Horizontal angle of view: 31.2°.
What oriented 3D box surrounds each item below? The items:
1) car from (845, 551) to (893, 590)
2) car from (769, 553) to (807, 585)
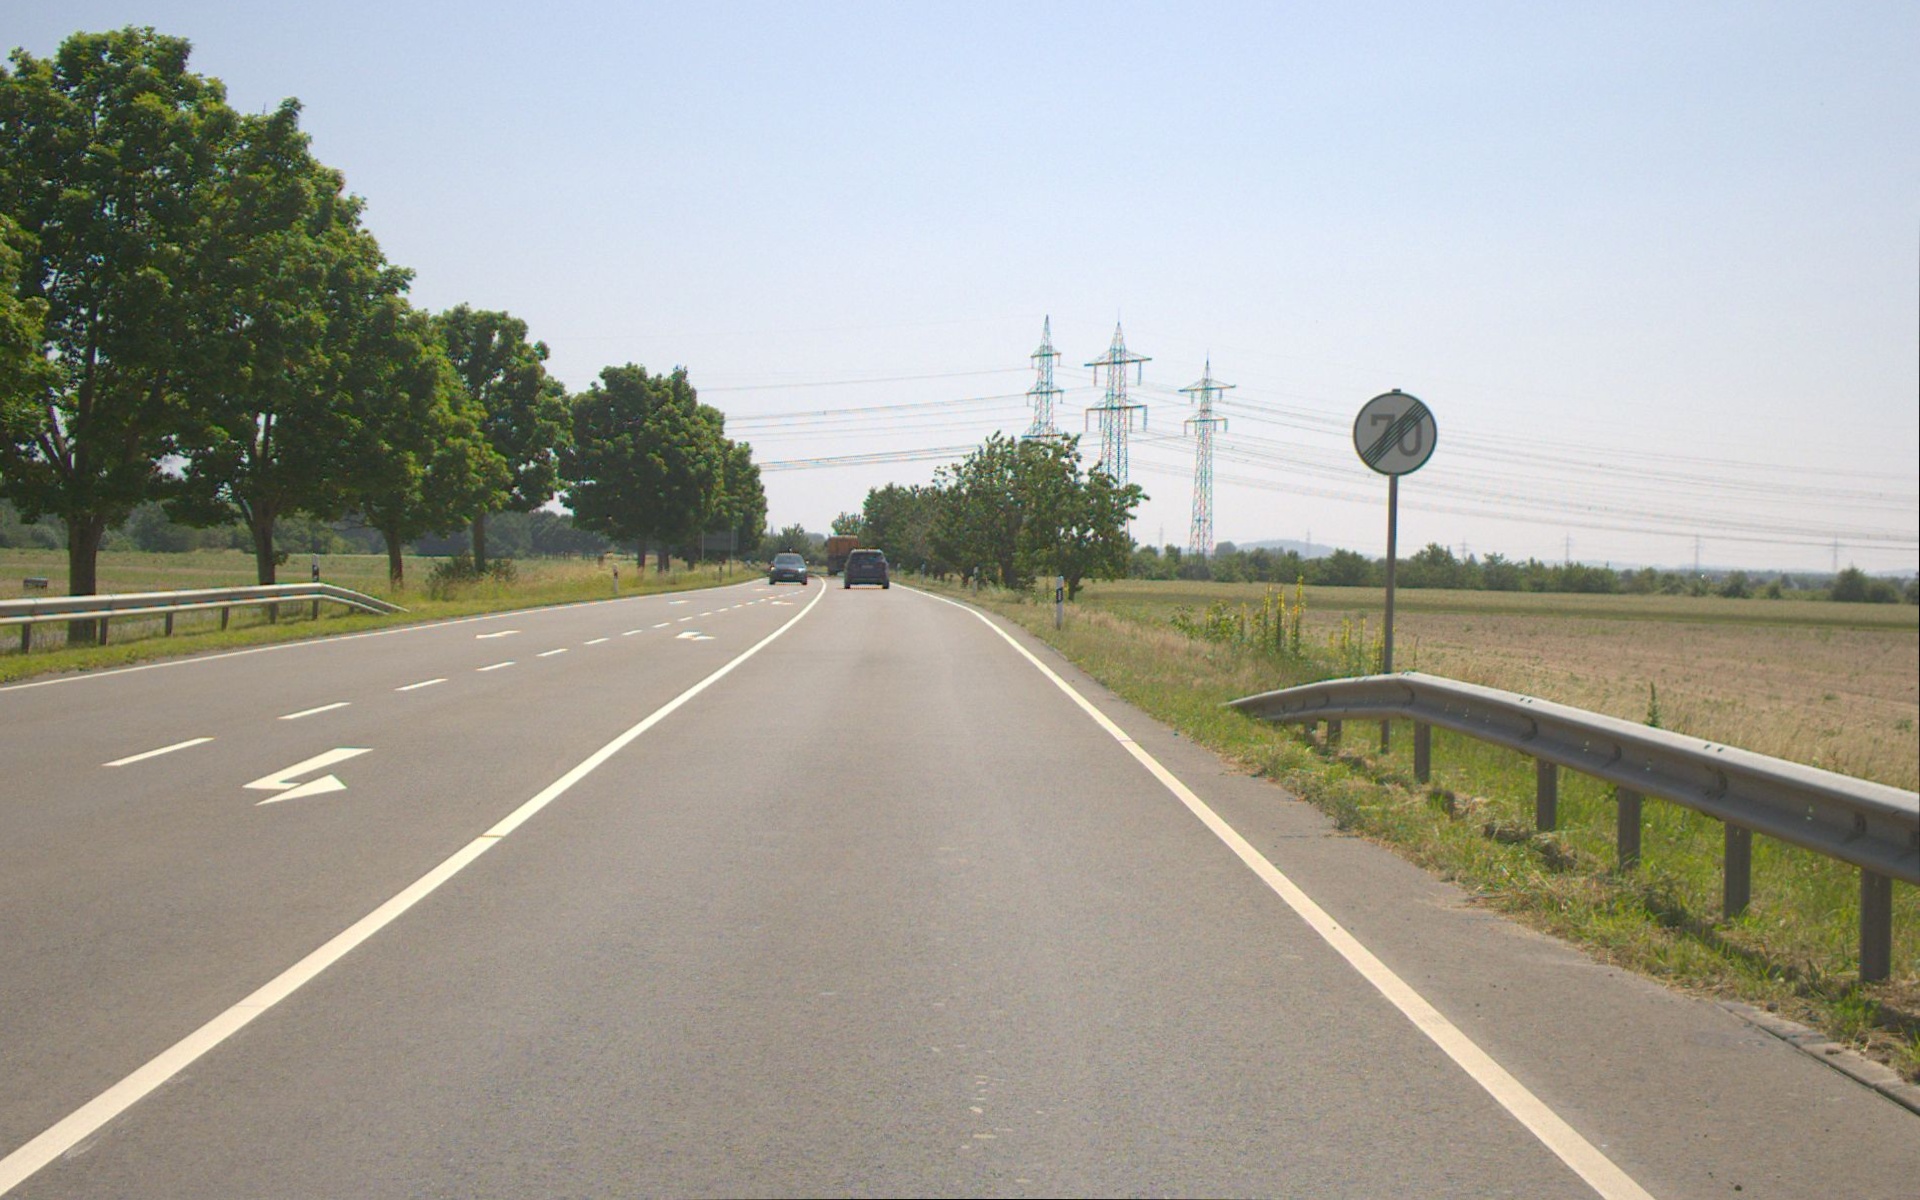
[{"bbox_3d":[-3.883,-1.276,146.365,1.884,1.513,4.040,4,1,-3],"label":"car"},{"bbox_3d":[-8.225,-1.497,164.640,1.739,1.468,4.619,1,1,-2],"label":"car"}]
